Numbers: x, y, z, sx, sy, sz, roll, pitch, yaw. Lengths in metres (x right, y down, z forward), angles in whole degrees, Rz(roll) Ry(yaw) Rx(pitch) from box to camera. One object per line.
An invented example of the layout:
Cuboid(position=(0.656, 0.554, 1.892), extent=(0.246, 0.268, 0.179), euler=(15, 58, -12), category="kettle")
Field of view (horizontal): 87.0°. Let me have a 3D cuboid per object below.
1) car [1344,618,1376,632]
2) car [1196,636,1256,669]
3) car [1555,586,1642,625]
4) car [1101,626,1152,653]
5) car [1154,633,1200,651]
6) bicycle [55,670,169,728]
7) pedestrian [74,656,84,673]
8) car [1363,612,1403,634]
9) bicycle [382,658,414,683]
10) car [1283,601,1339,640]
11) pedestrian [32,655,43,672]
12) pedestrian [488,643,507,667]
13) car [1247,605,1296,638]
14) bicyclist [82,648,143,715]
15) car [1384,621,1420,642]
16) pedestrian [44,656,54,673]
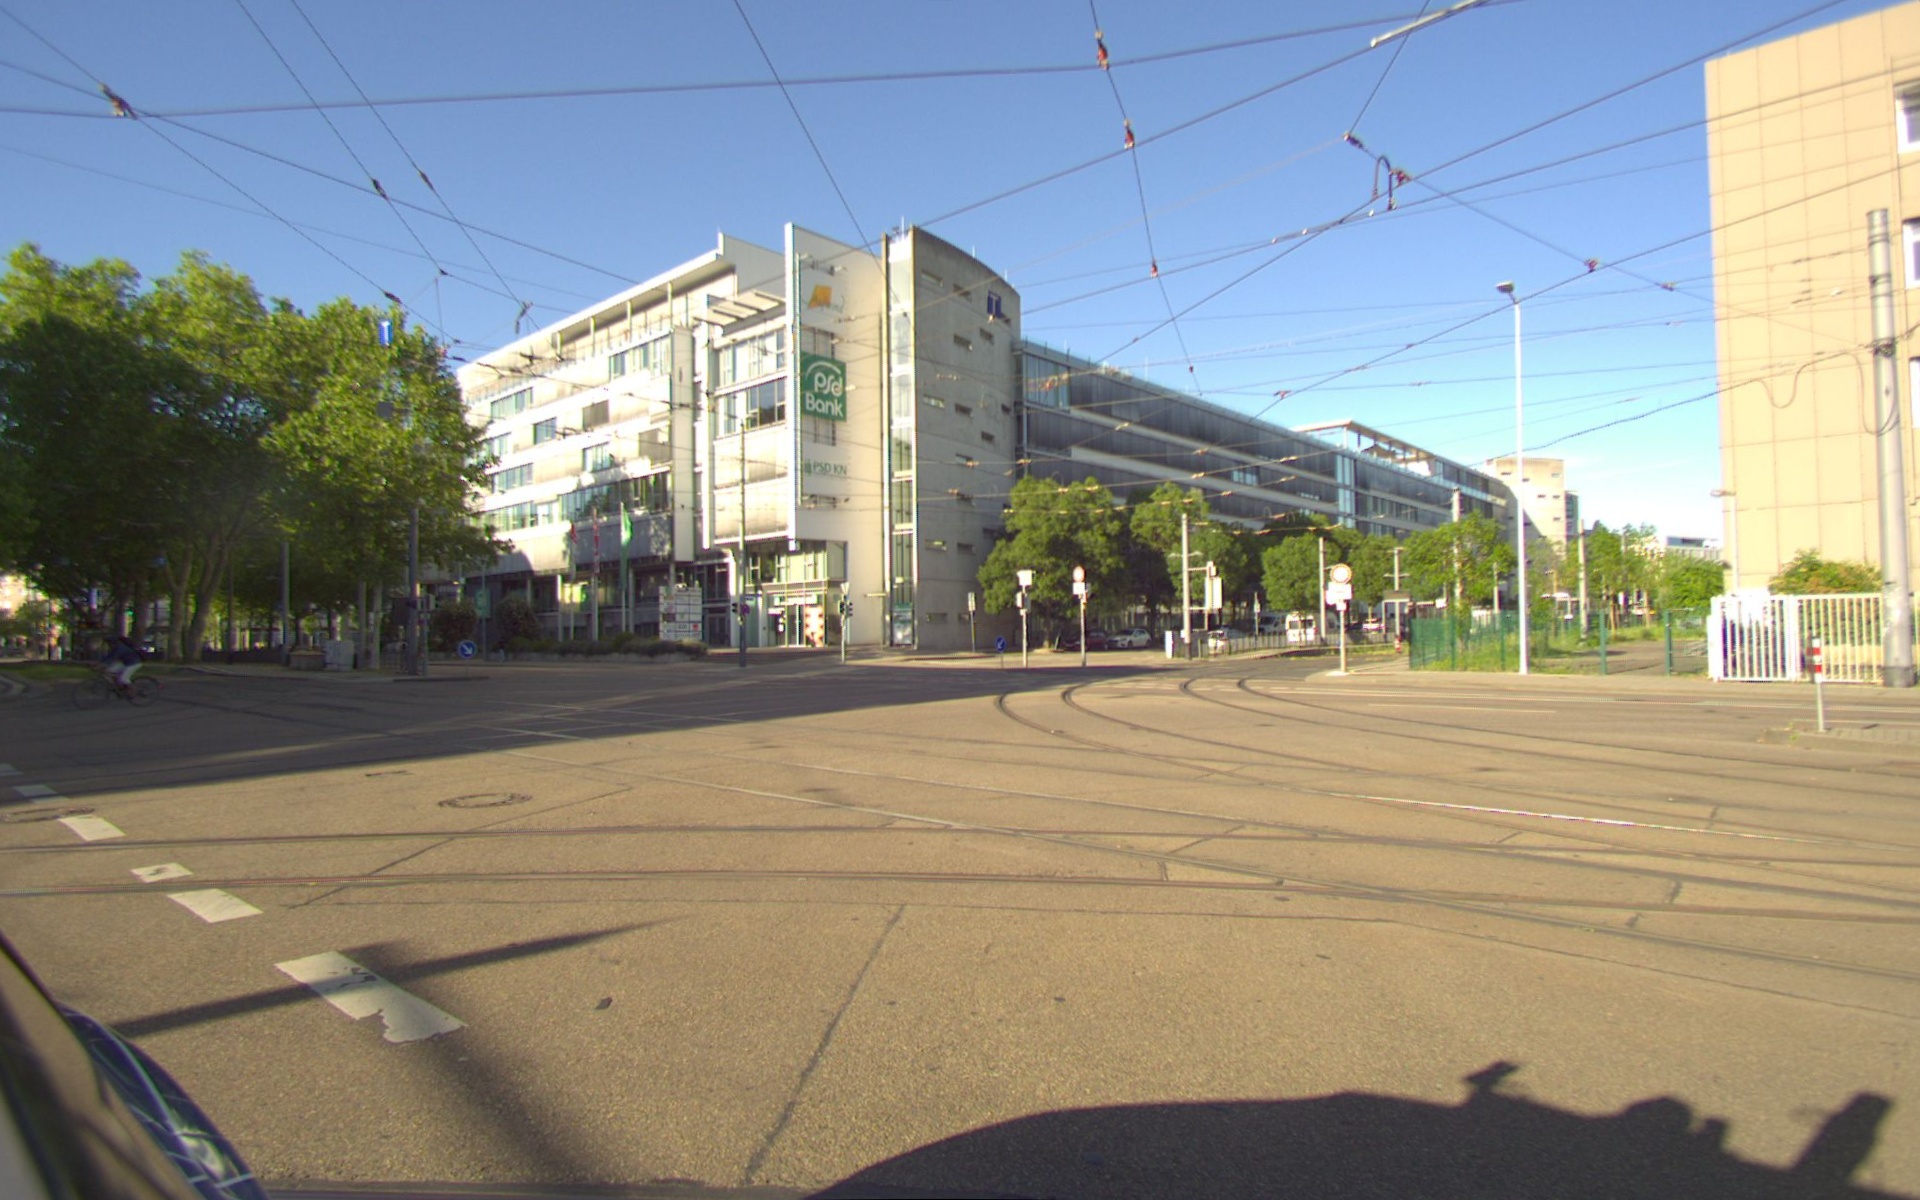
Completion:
Cuboid(position=(41.628, 2.571, 105.272), extent=(1.998, 1.357, 3.948), euler=(-3, -2, 39), category="car")
Cuboid(position=(15.463, 3.031, 58.663), extent=(2.104, 1.710, 3.923), euler=(-4, -3, 35), category="car")
Cuboid(position=(37.579, 0.333, 59.636), extent=(3.998, 2.029, 1.972), euler=(-4, -3, 42), category="car")
Cuboid(position=(11.615, 2.749, 70.519), extent=(1.734, 1.666, 3.900), euler=(-3, -2, 41), category="car")
Cuboid(position=(16.380, 3.139, 76.281), extent=(1.807, 1.198, 3.750), euler=(-3, -2, 39), category="car")
Cuboid(position=(-20.085, 2.323, 24.021), extent=(0.587, 1.198, 2.025), euler=(-3, -2, 25), category="bicycle")
Cuboid(position=(-82.252, 6.018, 94.518), extent=(0.549, 1.509, 0.548), euler=(-4, -2, 31), category="pedestrian")
Cuboid(position=(32.713, 1.733, 78.198), extent=(1.752, 1.570, 3.898), euler=(-3, -2, 39), category="car")
Cuboid(position=(-23.336, 2.925, 42.009), extent=(0.803, 0.953, 1.728), euler=(-1, -3, -42), category="bicycle")
Cuboid(position=(23.769, 1.378, 68.508), extent=(2.180, 2.524, 4.343), euler=(-3, -2, 39), category="car")
Cuboid(position=(-94.949, 6.511, 104.163), extent=(0.697, 1.709, 0.678), euler=(-4, -2, 34), category="pedestrian")
Cuboid(position=(-31.007, 3.693, 67.817), extent=(0.767, 1.604, 0.896), euler=(-4, -3, 41), category="pedestrian")
Cuboid(position=(27.314, 1.877, 88.665), extent=(2.230, 2.675, 5.062), euler=(-3, -2, 39), category="car")
Cuboid(position=(-20.109, 1.924, 24.019), extent=(0.719, 1.505, 0.874), euler=(-3, -2, 25), category="bicyclist")
Cuboid(position=(35.989, 2.552, 82.361), extent=(1.752, 1.570, 3.899), euler=(-4, -3, 38), category="car")
Cuboid(position=(-94.313, 6.655, 104.772), extent=(0.674, 1.767, 0.649), euler=(-4, -2, 34), category="pedestrian")
